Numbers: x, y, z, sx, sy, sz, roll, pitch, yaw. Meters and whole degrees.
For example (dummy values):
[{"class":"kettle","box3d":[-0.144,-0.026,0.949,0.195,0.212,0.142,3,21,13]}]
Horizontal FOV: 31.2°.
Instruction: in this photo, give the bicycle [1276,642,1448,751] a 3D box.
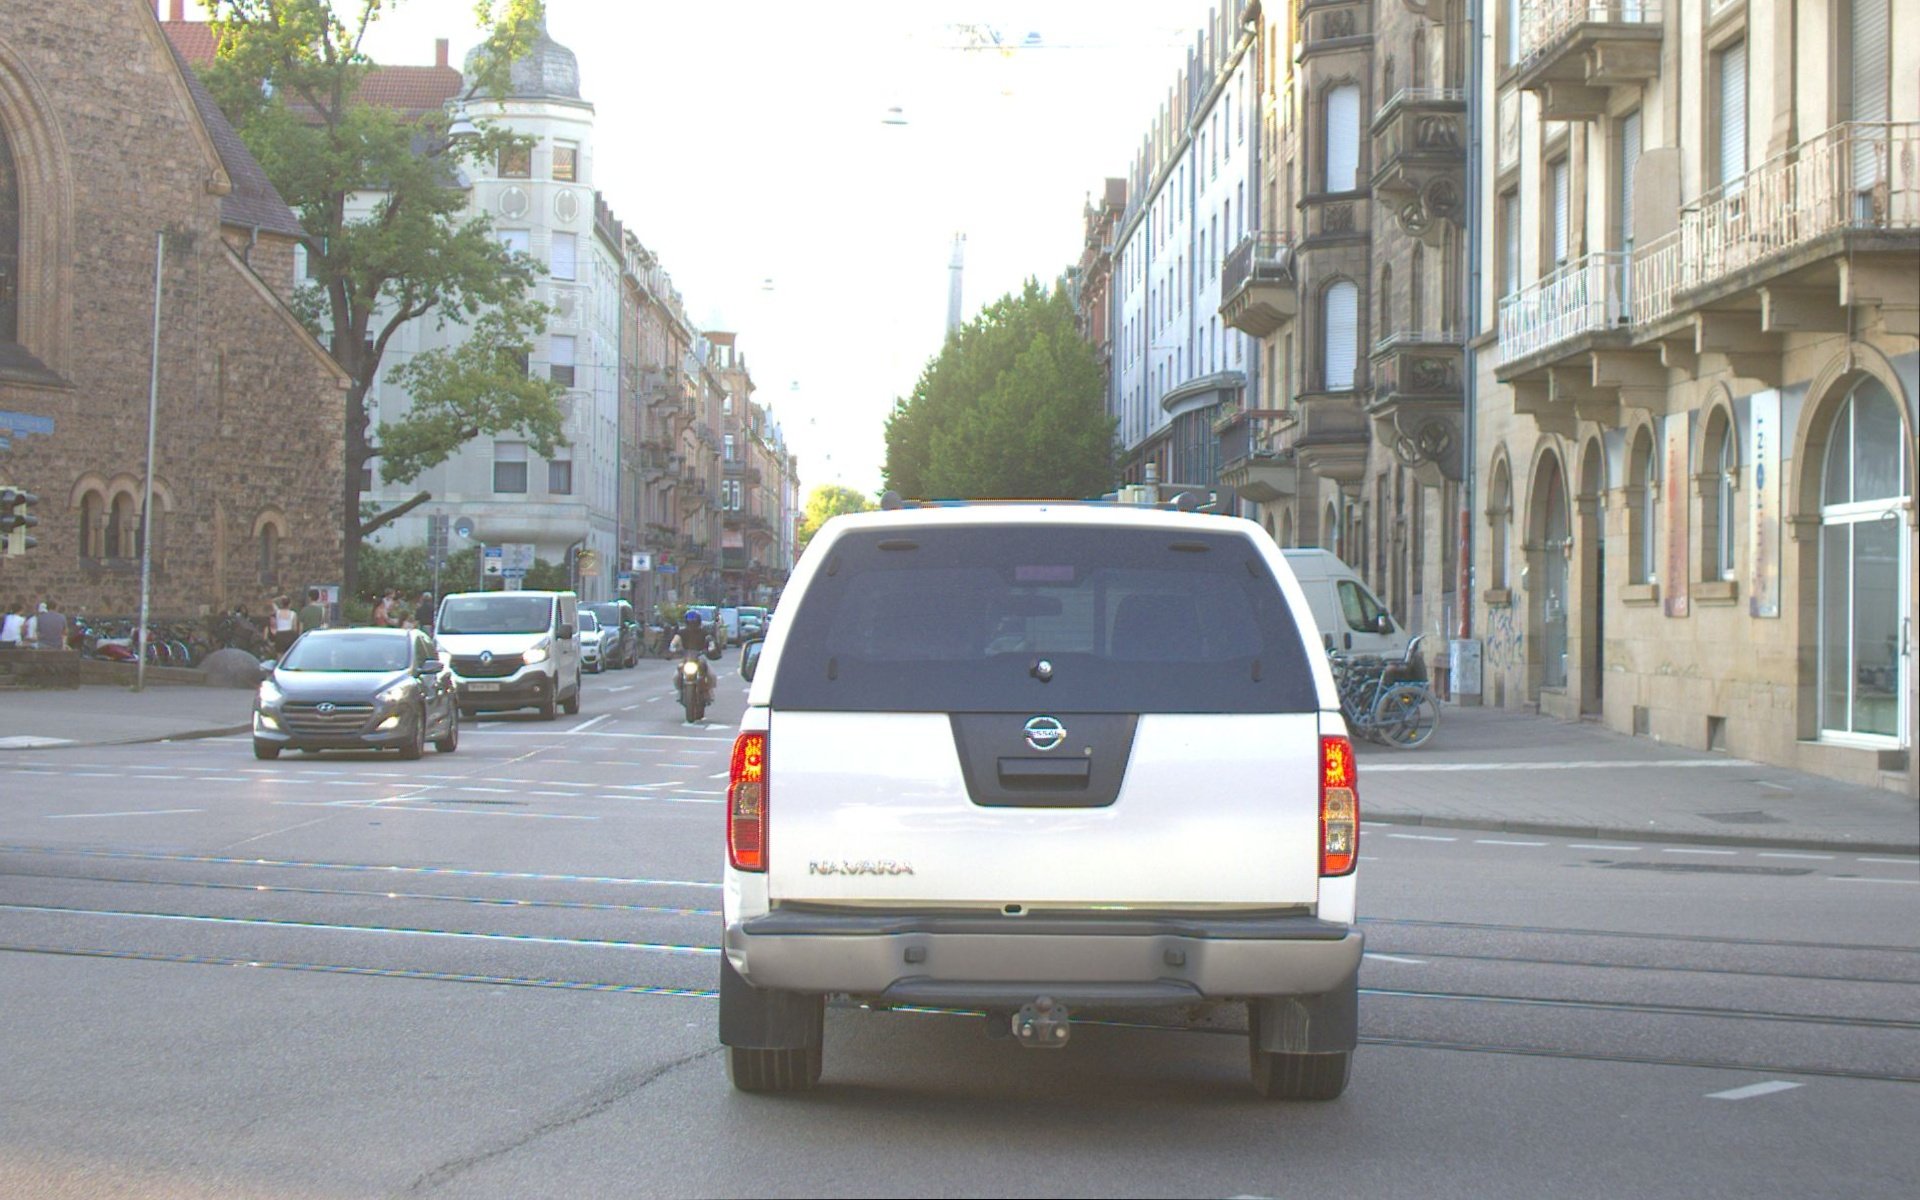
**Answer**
[{"class":"bicycle","box3d":[4.548,1.086,38.974,1.817,1.146,0.636,-2,-1,-2]}]

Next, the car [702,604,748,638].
[{"class":"car","box3d":[-11.035,1.004,161.504,1.858,1.524,4.000,2,-1,0]}]

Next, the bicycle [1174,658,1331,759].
[{"class":"bicycle","box3d":[3.357,1.241,39.456,1.726,1.080,0.317,-2,-1,-2]}]

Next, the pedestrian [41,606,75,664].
[{"class":"pedestrian","box3d":[-15.063,0.579,57.391,0.521,0.957,0.479,2,-1,-15]}]

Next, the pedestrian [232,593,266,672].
[{"class":"pedestrian","box3d":[-15.433,0.713,74.611,0.642,1.690,0.562,2,-1,-8]}]

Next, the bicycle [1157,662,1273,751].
[{"class":"bicycle","box3d":[3.087,1.287,41.602,1.333,1.021,0.317,-2,-1,-2]}]

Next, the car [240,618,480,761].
[{"class":"car","box3d":[-6.583,0.952,38.136,1.993,1.472,4.139,0,0,-1]}]

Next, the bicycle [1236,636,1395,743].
[{"class":"bicycle","box3d":[4.390,1.106,42.490,1.855,1.234,0.531,-2,-1,-2]}]

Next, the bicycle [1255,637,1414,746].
[{"class":"bicycle","box3d":[4.500,1.095,41.352,1.817,1.234,0.412,-2,-1,-2]}]

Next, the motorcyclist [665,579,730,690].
[{"class":"motorcyclist","box3d":[-3.987,0.521,52.244,0.874,1.639,0.963,2,-1,-1]}]

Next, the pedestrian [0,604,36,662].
[{"class":"pedestrian","box3d":[-15.829,0.559,57.498,0.522,0.957,0.479,1,-1,18]}]

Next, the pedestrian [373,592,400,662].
[{"class":"pedestrian","box3d":[-13.967,0.649,83.733,0.560,1.690,0.645,2,-1,-7]}]

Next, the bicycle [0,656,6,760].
[{"class":"bicycle","box3d":[-9.893,1.065,33.576,0.599,1.040,1.946,2,-1,-1]}]

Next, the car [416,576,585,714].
[{"class":"car","box3d":[-6.988,0.680,52.740,1.993,2.007,4.950,0,-1,-1]}]

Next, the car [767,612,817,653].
[{"class":"car","box3d":[-6.642,1.291,136.356,1.858,1.524,4.000,2,-1,-2]}]

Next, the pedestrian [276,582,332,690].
[{"class":"pedestrian","box3d":[-11.692,0.635,61.284,0.812,1.894,0.666,2,-1,-2]}]

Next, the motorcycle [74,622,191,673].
[{"class":"motorcycle","box3d":[-17.040,0.970,70.834,2.243,0.984,0.708,2,-1,-5]}]

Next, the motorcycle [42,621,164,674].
[{"class":"motorcycle","box3d":[-17.145,0.946,68.808,2.243,0.984,0.708,2,-1,-5]}]

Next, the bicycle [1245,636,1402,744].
[{"class":"bicycle","box3d":[4.431,1.100,41.958,1.817,1.234,0.410,-2,-1,-2]}]

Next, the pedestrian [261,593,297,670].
[{"class":"pedestrian","box3d":[-15.201,0.702,76.725,0.643,1.690,0.562,2,-1,0]}]

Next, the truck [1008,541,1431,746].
[{"class":"truck","box3d":[3.505,0.587,45.555,5.657,2.556,2.286,2,-1,-43]}]

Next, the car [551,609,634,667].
[{"class":"car","box3d":[-10.176,1.043,95.359,1.858,1.524,4.000,2,-1,0]}]

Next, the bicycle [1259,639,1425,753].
[{"class":"bicycle","box3d":[4.431,1.107,39.916,1.817,1.234,0.488,-2,-1,-2]}]

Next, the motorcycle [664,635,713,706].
[{"class":"motorcycle","box3d":[-4.103,1.055,52.080,0.599,1.040,1.946,2,-1,-1]}]

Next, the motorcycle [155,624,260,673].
[{"class":"motorcycle","box3d":[-16.005,1.024,73.105,2.167,0.984,0.593,1,-1,20]}]

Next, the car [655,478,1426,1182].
[{"class":"car","box3d":[0.226,0.631,11.137,1.993,1.803,4.000,2,-1,0]}]

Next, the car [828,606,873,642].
[{"class":"car","box3d":[-4.885,1.093,153.469,1.858,1.524,4.000,2,-1,0]}]

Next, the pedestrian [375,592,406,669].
[{"class":"pedestrian","box3d":[-13.722,0.731,82.889,0.642,1.849,0.562,2,-1,-14]}]

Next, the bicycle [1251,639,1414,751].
[{"class":"bicycle","box3d":[4.396,1.118,40.627,1.817,1.234,0.478,-2,-1,-2]}]

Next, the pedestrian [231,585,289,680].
[{"class":"pedestrian","box3d":[-12.478,0.575,61.305,0.812,1.664,0.859,2,-1,-2]}]
